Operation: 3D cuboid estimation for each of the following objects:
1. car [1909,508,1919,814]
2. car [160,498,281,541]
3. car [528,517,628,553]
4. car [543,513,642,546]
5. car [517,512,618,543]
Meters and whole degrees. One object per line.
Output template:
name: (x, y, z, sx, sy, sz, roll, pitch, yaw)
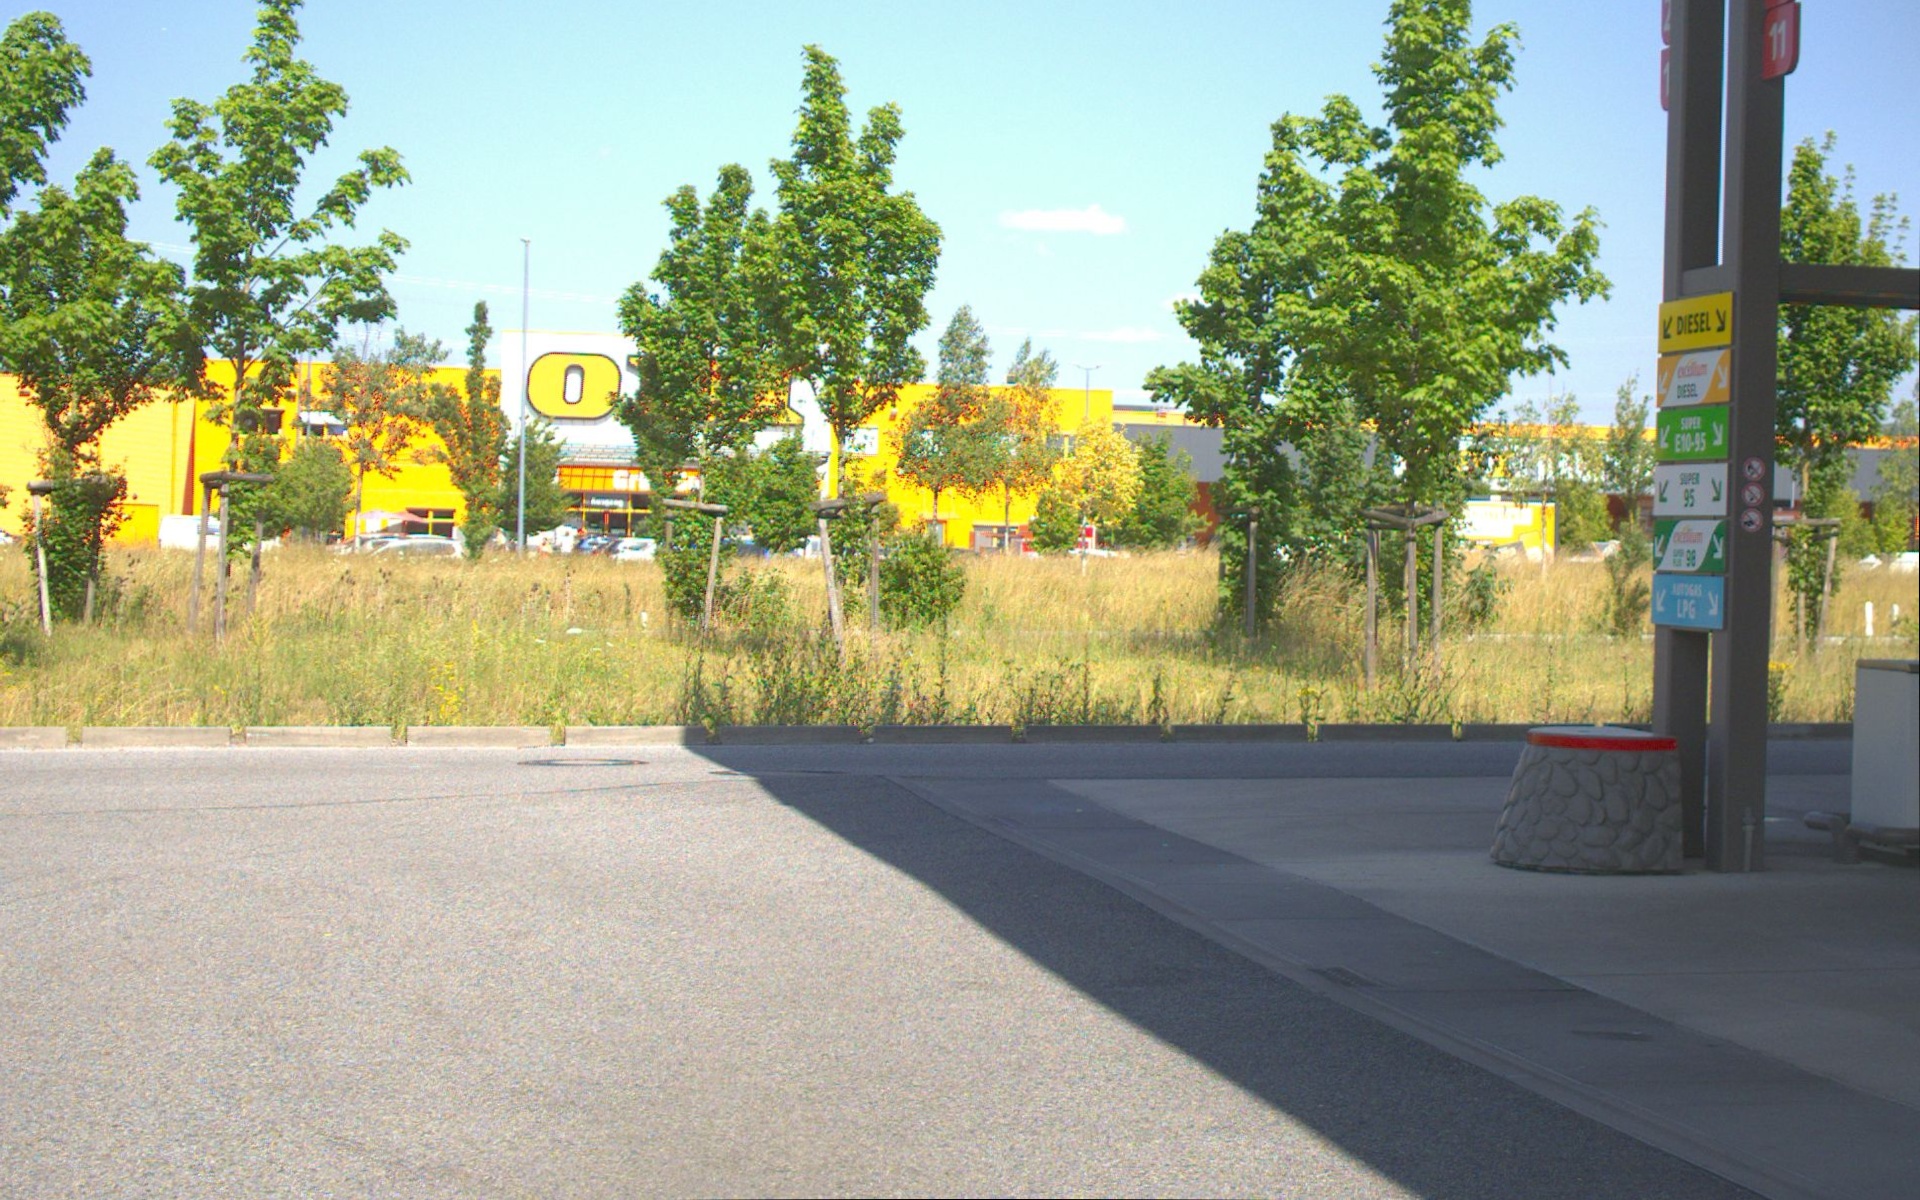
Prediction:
car: (7.670, 0.372, 18.604, 4.519, 1.681, 1.866, 0, 1, -14)
car: (-28.100, -3.062, 130.732, 4.369, 1.542, 1.794, 1, 1, -8)
car: (-16.220, -2.758, 145.909, 4.155, 1.465, 1.672, 1, 1, -8)
car: (-15.246, -2.921, 142.651, 4.003, 1.294, 1.758, 1, 1, -8)
car: (-14.669, -2.712, 128.372, 3.698, 1.109, 1.594, 1, 1, -8)
